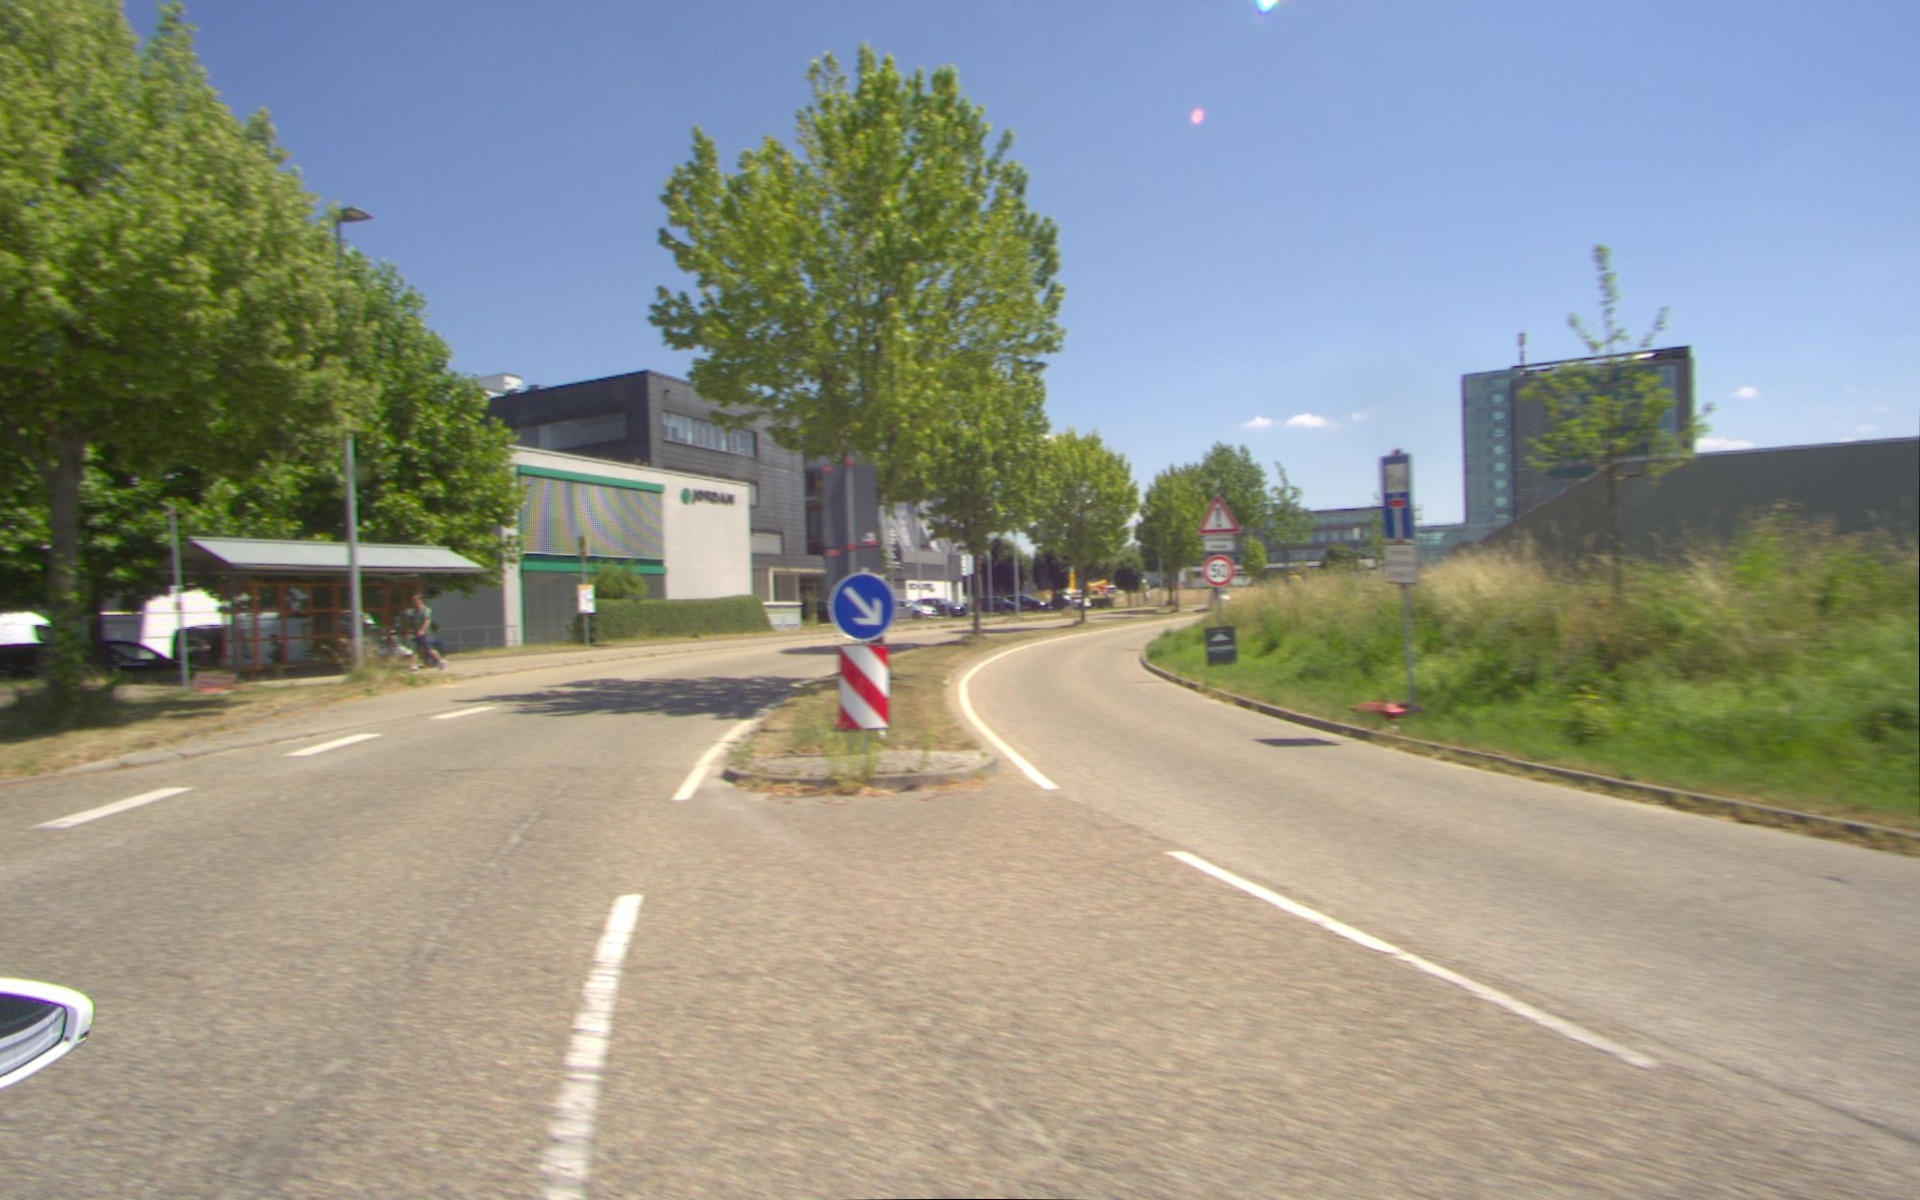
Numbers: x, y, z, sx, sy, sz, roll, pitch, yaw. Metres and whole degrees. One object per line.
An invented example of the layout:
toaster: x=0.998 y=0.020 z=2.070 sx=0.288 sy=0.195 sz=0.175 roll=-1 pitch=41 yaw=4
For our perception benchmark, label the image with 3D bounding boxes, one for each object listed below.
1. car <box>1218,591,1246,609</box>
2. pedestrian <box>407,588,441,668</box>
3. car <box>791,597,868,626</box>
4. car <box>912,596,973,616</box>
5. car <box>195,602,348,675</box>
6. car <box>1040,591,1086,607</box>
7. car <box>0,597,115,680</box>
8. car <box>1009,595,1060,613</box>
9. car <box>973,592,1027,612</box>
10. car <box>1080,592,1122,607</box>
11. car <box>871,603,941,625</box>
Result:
car: x=24.705 y=0.019 z=90.902 sx=1.655 sy=1.523 sz=3.558 roll=-3 pitch=-3 yaw=29
pedestrian: x=-11.574 y=0.600 z=21.619 sx=0.524 sy=1.691 sz=0.575 roll=-1 pitch=-2 yaw=-37
car: x=-7.200 y=0.622 z=55.282 sx=3.855 sy=1.398 sz=1.699 roll=-3 pitch=1 yaw=25
car: x=-1.197 y=0.401 z=69.283 sx=3.830 sy=1.198 sz=1.699 roll=-3 pitch=1 yaw=25
car: x=-21.356 y=1.200 z=31.065 sx=4.188 sy=2.039 sz=1.548 roll=-3 pitch=-2 yaw=15
car: x=9.494 y=-0.072 z=91.914 sx=3.830 sy=1.291 sz=1.699 roll=-3 pitch=1 yaw=25
car: x=-21.676 y=0.903 z=22.233 sx=1.812 sy=1.751 sz=3.982 roll=-2 pitch=1 yaw=27
car: x=6.182 y=0.325 z=83.131 sx=3.830 sy=1.291 sz=1.699 roll=-3 pitch=1 yaw=25
car: x=3.086 y=0.162 z=77.276 sx=3.830 sy=1.291 sz=1.699 roll=-3 pitch=1 yaw=25
car: x=13.963 y=-0.072 z=99.160 sx=3.782 sy=1.291 sz=1.603 roll=-3 pitch=1 yaw=25
car: x=-3.455 y=0.910 z=64.064 sx=4.208 sy=1.197 sz=1.489 roll=-4 pitch=-2 yaw=25
